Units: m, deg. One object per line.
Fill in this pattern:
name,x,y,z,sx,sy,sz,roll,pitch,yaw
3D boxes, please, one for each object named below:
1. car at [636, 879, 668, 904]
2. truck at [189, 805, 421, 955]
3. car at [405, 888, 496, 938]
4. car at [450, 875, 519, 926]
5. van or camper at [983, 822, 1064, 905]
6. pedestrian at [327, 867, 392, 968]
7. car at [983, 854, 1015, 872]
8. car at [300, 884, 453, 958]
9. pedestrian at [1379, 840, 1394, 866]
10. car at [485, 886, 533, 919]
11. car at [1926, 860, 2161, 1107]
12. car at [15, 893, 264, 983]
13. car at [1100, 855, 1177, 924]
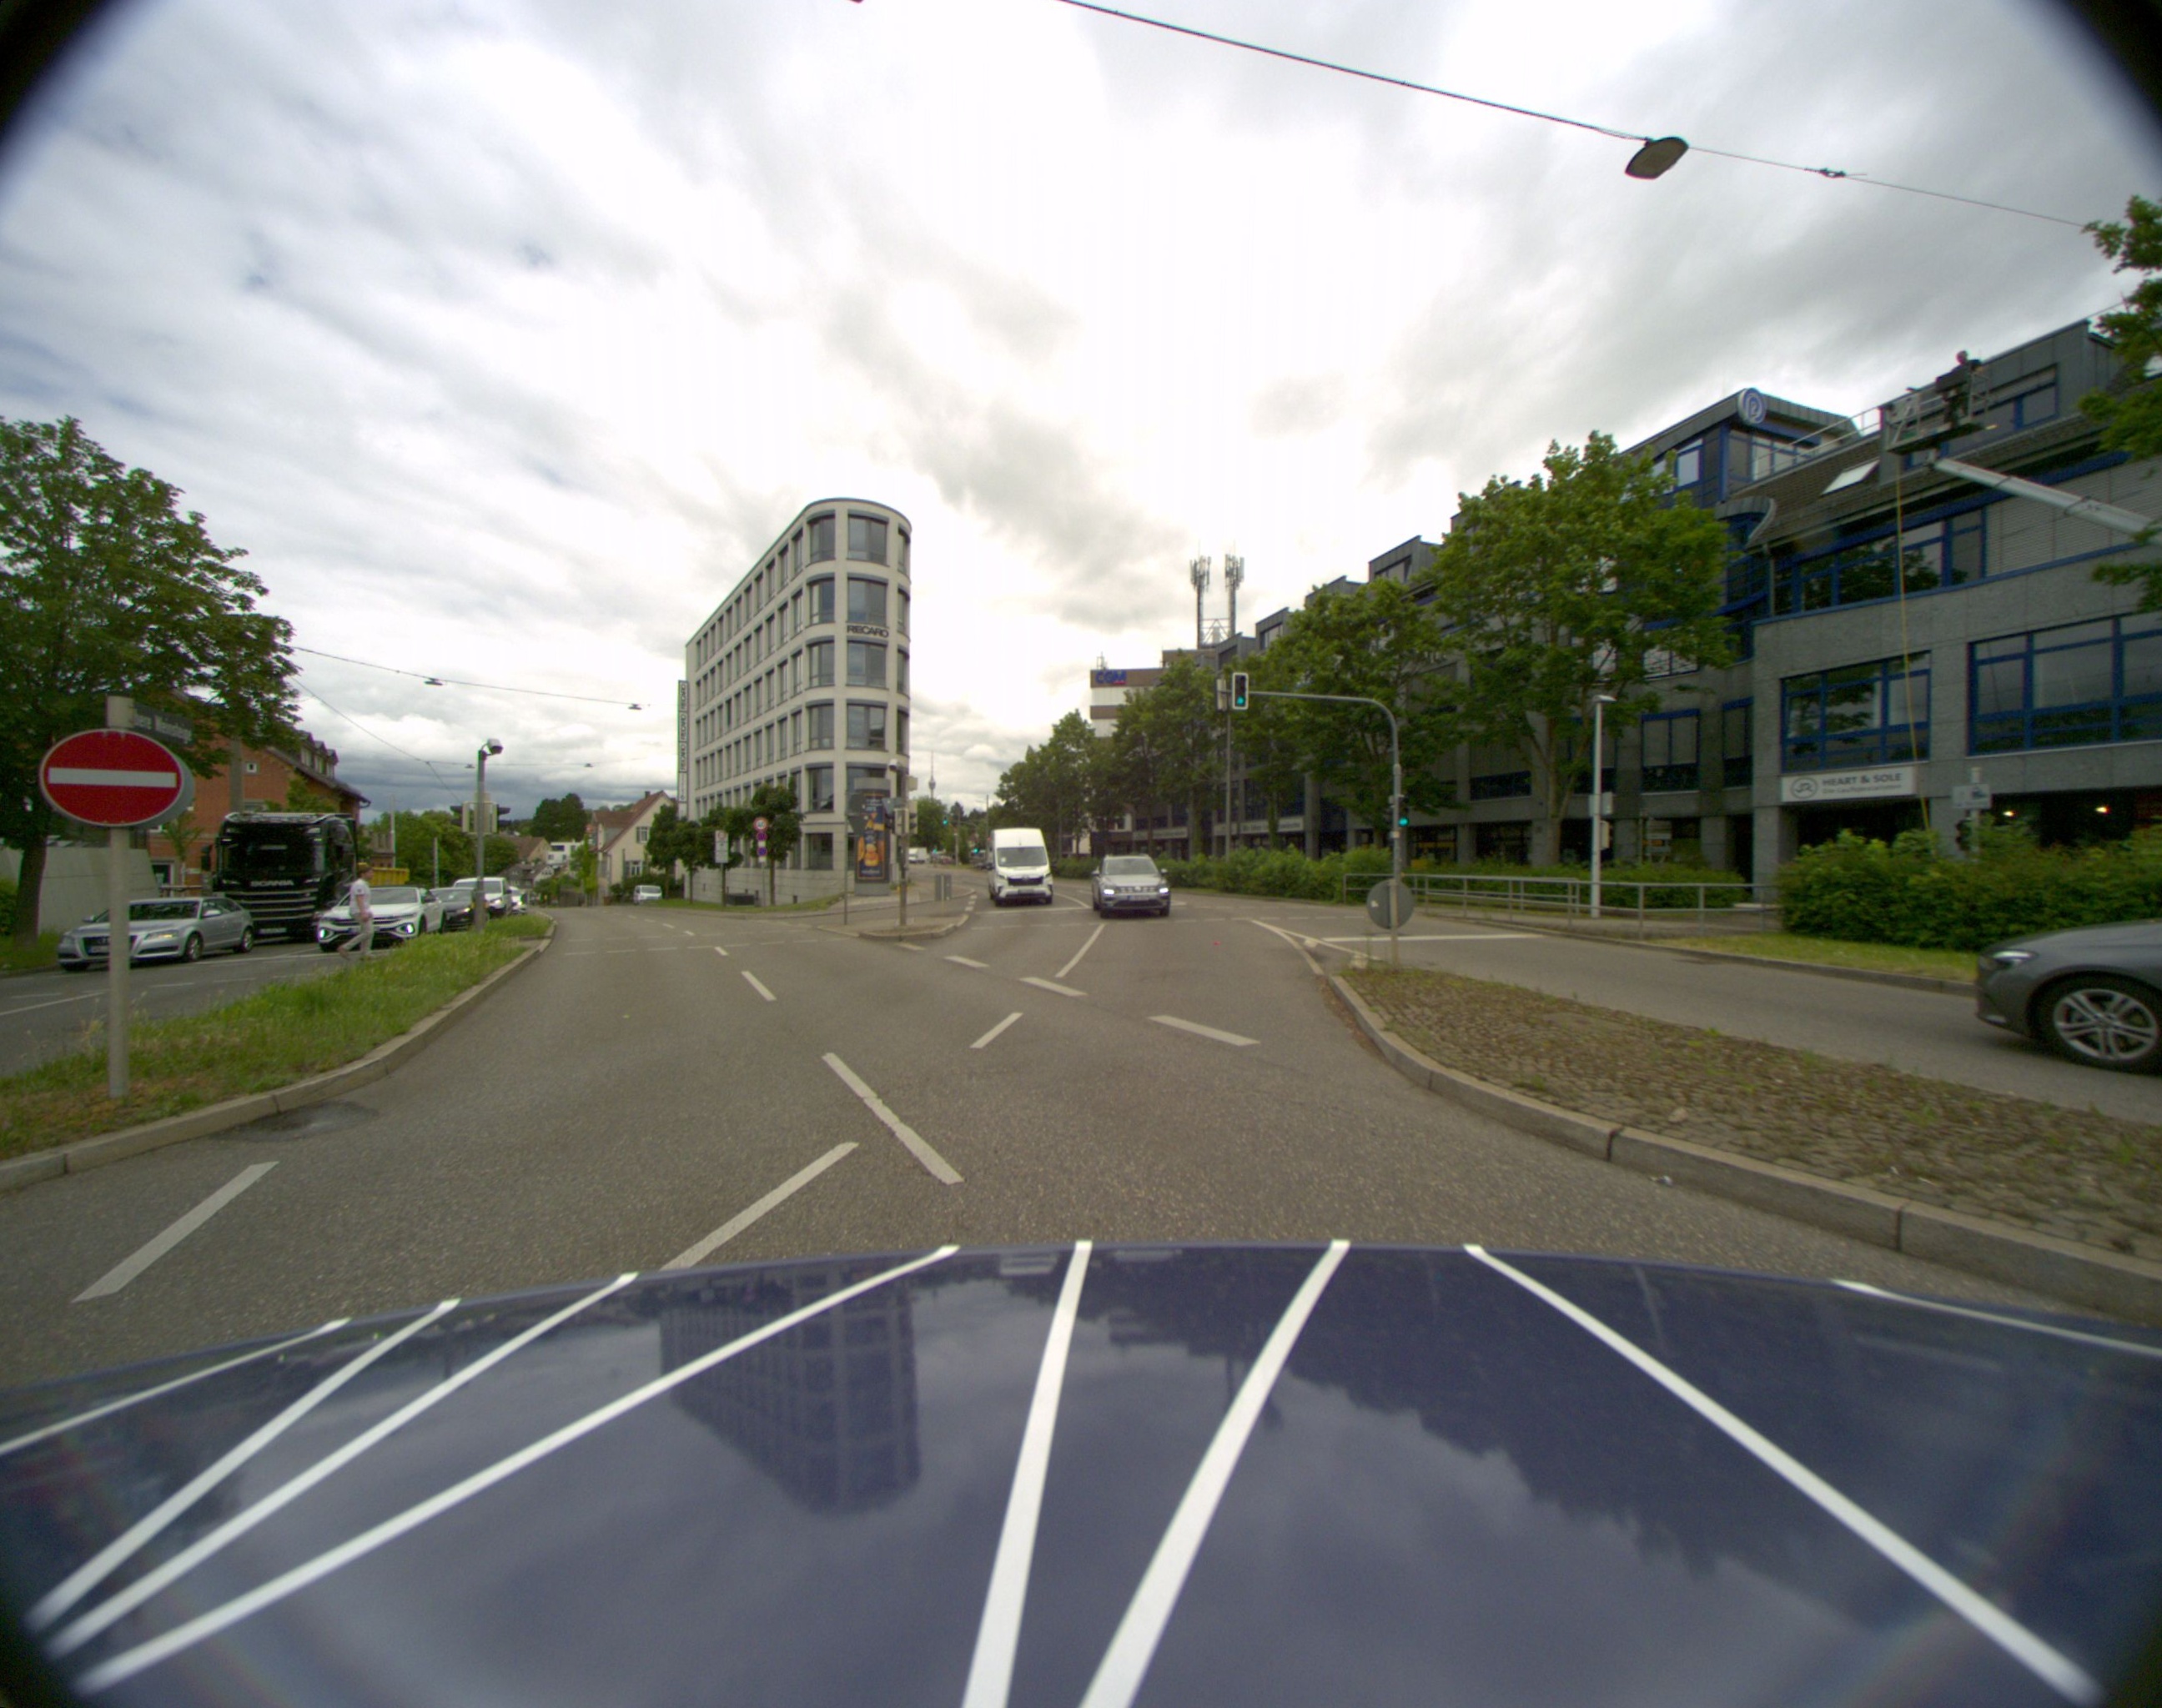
car,-39.269,3.413,69.500,2.181,2.002,3.989,-1,1,-35
truck,-24.311,0.674,24.523,2.833,3.903,9.435,-2,1,-31
car,-20.847,1.882,25.274,1.656,1.366,3.969,-2,0,-30
car,-23.920,1.799,30.595,1.758,1.786,4.277,-2,0,-33
van or camper,-2.298,0.294,28.197,2.112,2.674,6.292,-2,1,-12
pedestrian,-14.220,1.234,15.001,0.758,1.907,0.586,-2,1,-32
car,-7.083,0.748,65.268,1.853,1.428,4.698,1,0,-17
car,-17.619,1.590,19.271,1.859,1.521,4.478,-2,0,-30
pedestrian,16.054,-0.045,39.906,0.366,1.326,0.557,-4,1,-22
car,-28.061,2.330,37.296,1.759,1.368,4.276,-2,0,-37
car,7.964,0.818,3.993,1.789,1.528,4.391,-2,0,-13
car,-20.069,1.687,16.498,1.992,1.434,4.149,-2,1,-30
car,1.488,0.883,21.011,1.833,1.636,4.326,-1,1,1
